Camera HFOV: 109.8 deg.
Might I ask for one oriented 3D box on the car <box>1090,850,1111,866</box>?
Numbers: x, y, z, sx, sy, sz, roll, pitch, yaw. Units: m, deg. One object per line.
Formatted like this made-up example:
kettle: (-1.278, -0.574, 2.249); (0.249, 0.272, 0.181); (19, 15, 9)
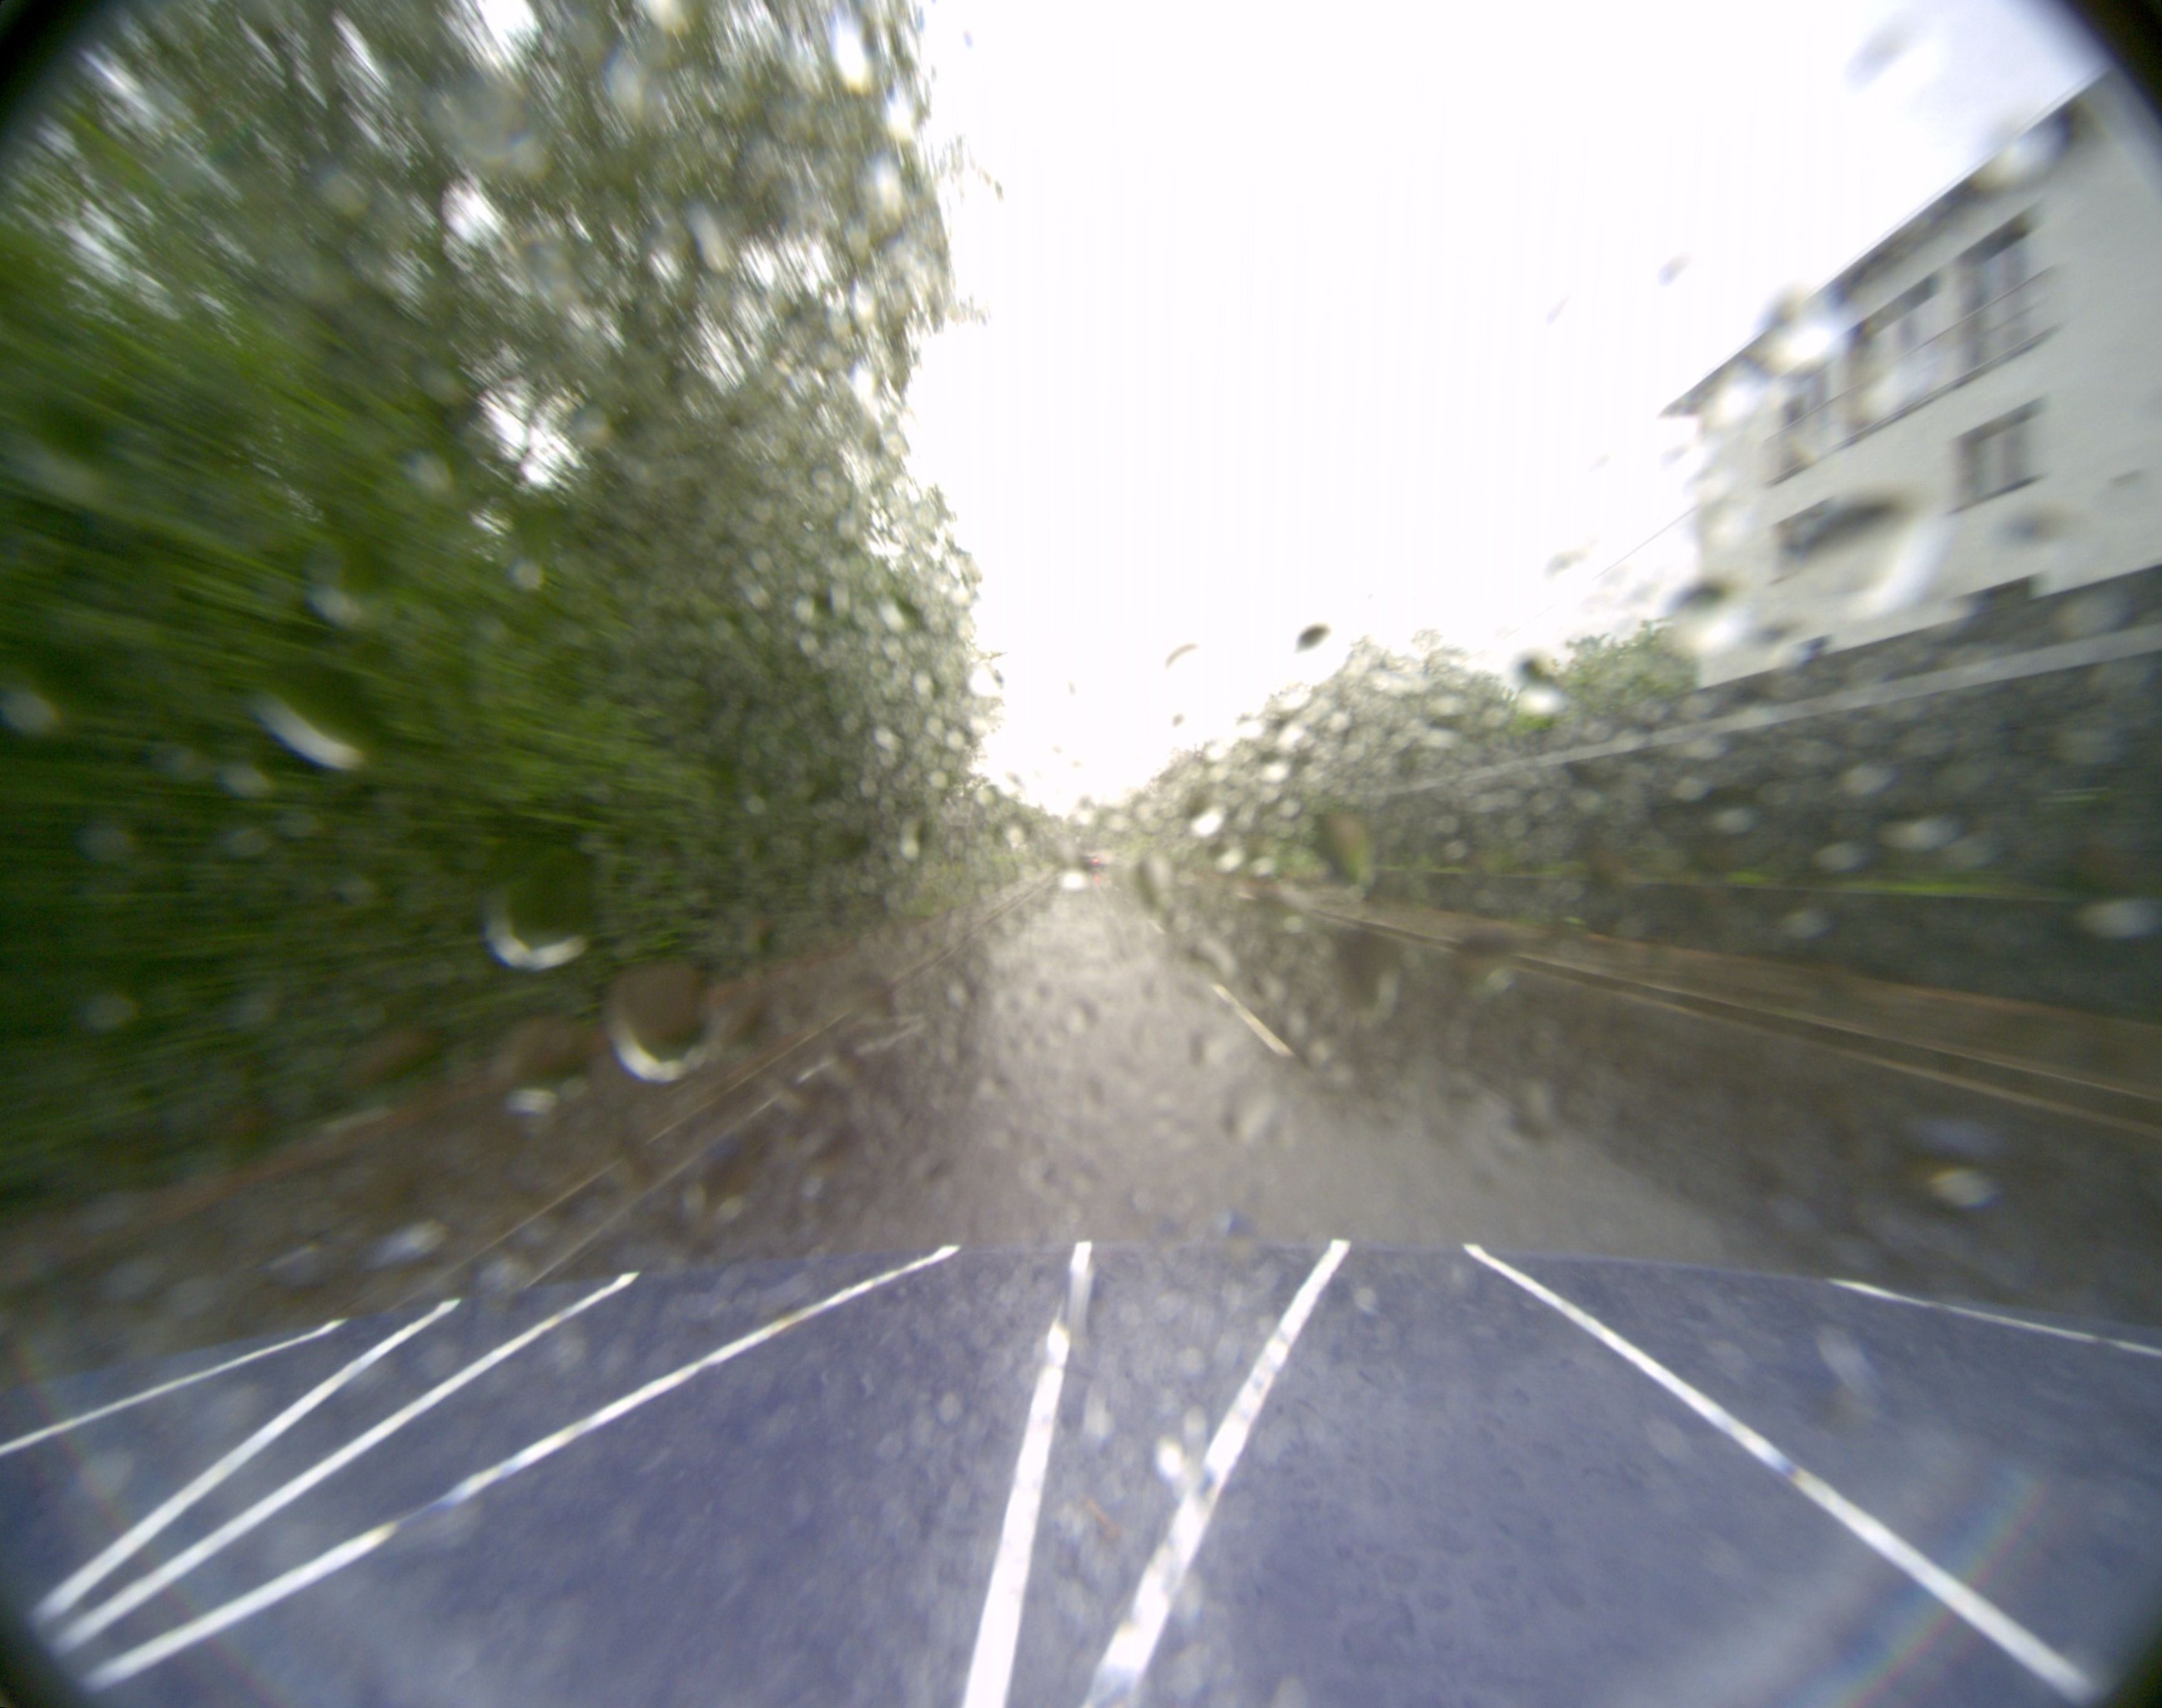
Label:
car: (1.917, 0.399, 76.285); (1.998, 1.445, 4.427); (-3, 1, 1)
